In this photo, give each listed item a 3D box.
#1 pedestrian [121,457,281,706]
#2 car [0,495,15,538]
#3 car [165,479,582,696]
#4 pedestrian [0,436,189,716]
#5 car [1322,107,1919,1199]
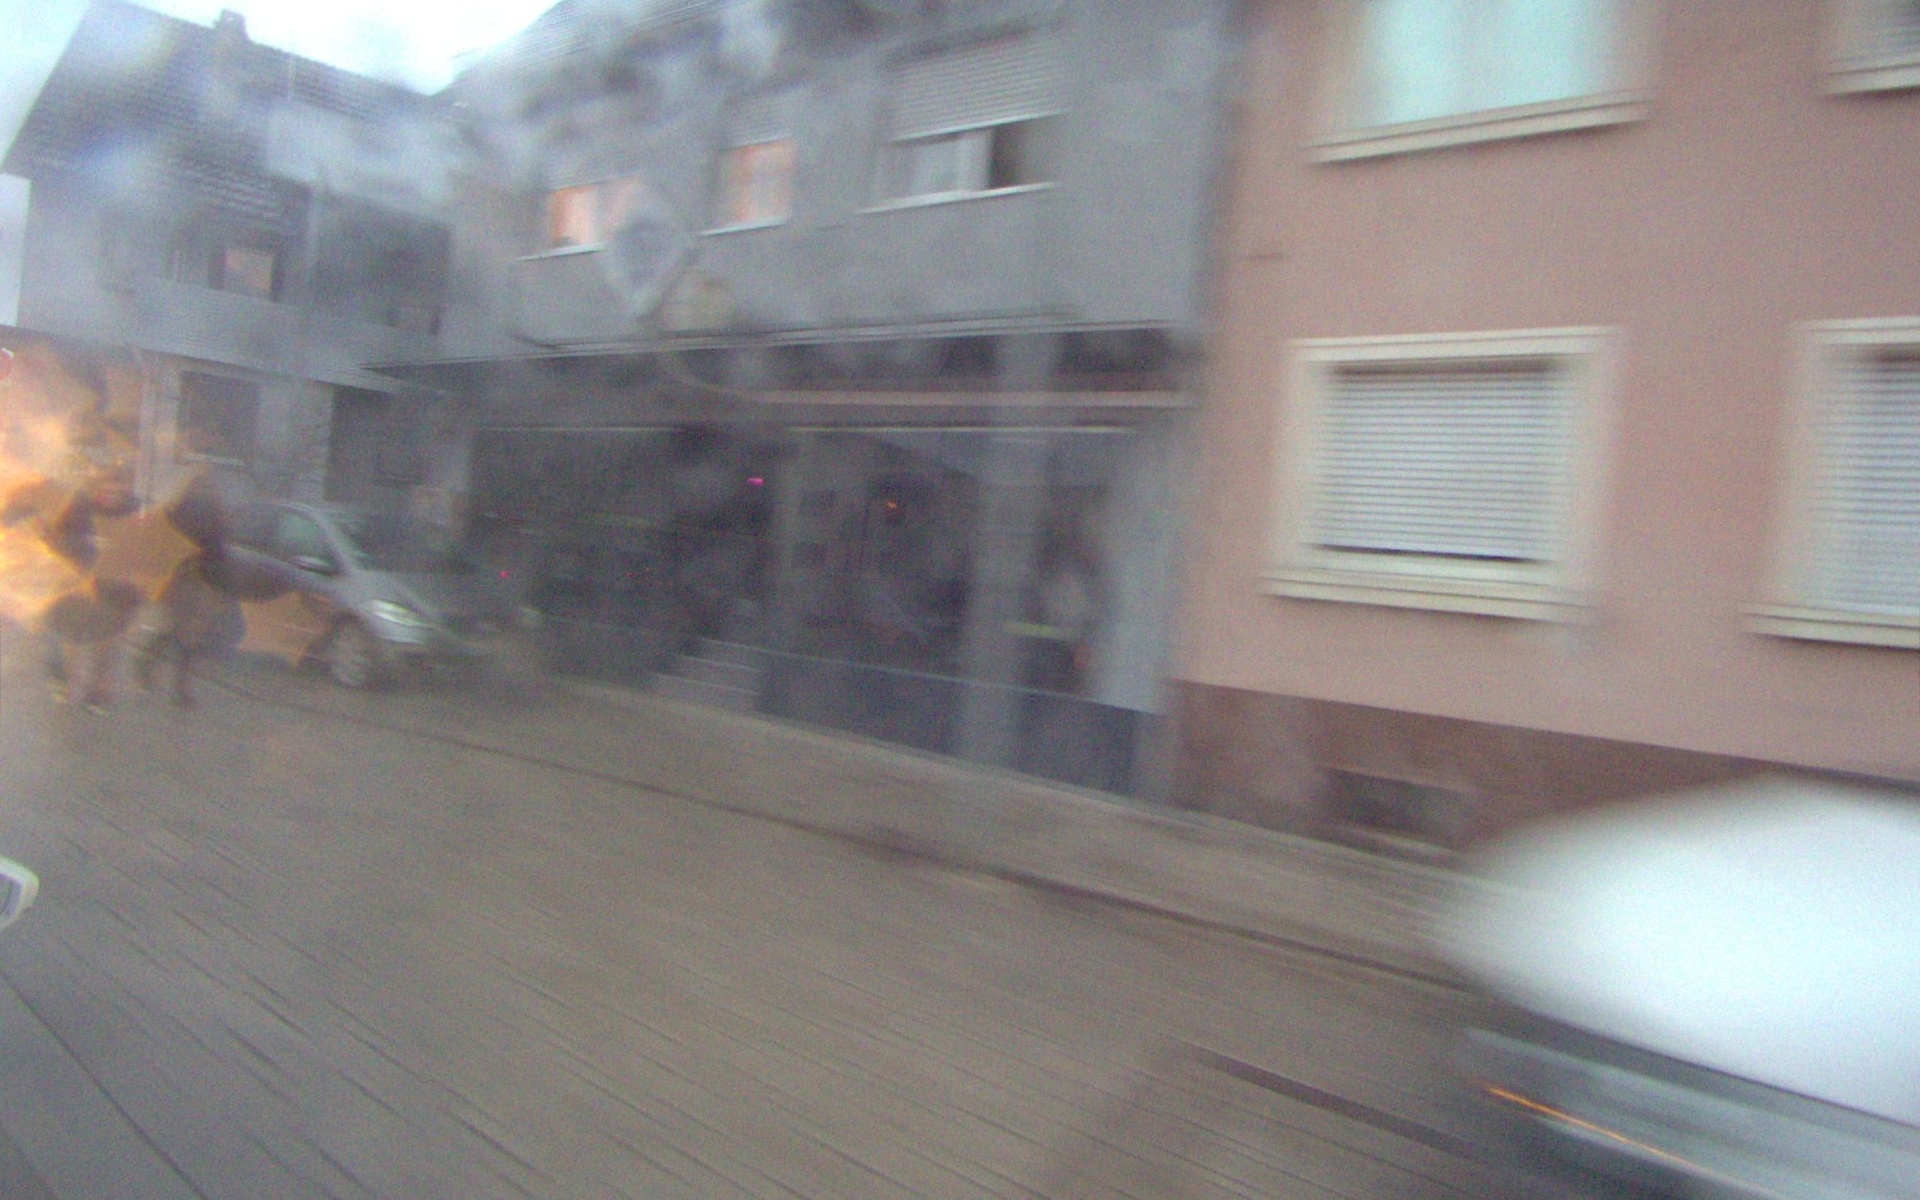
[{"bbox_3d":[-5.514,-0.135,7.310,0.778,1.691,0.579,7,2,32],"label":"pedestrian"},{"bbox_3d":[-33.880,-2.981,34.541,1.641,1.460,3.826,6,0,-38],"label":"car"},{"bbox_3d":[-5.682,-0.162,9.719,3.599,1.581,1.736,7,1,27],"label":"car"},{"bbox_3d":[-5.811,-0.159,6.719,0.791,1.721,0.713,7,2,32],"label":"pedestrian"},{"bbox_3d":[3.001,0.763,0.796,4.772,1.985,1.974,7,1,33],"label":"car"}]
